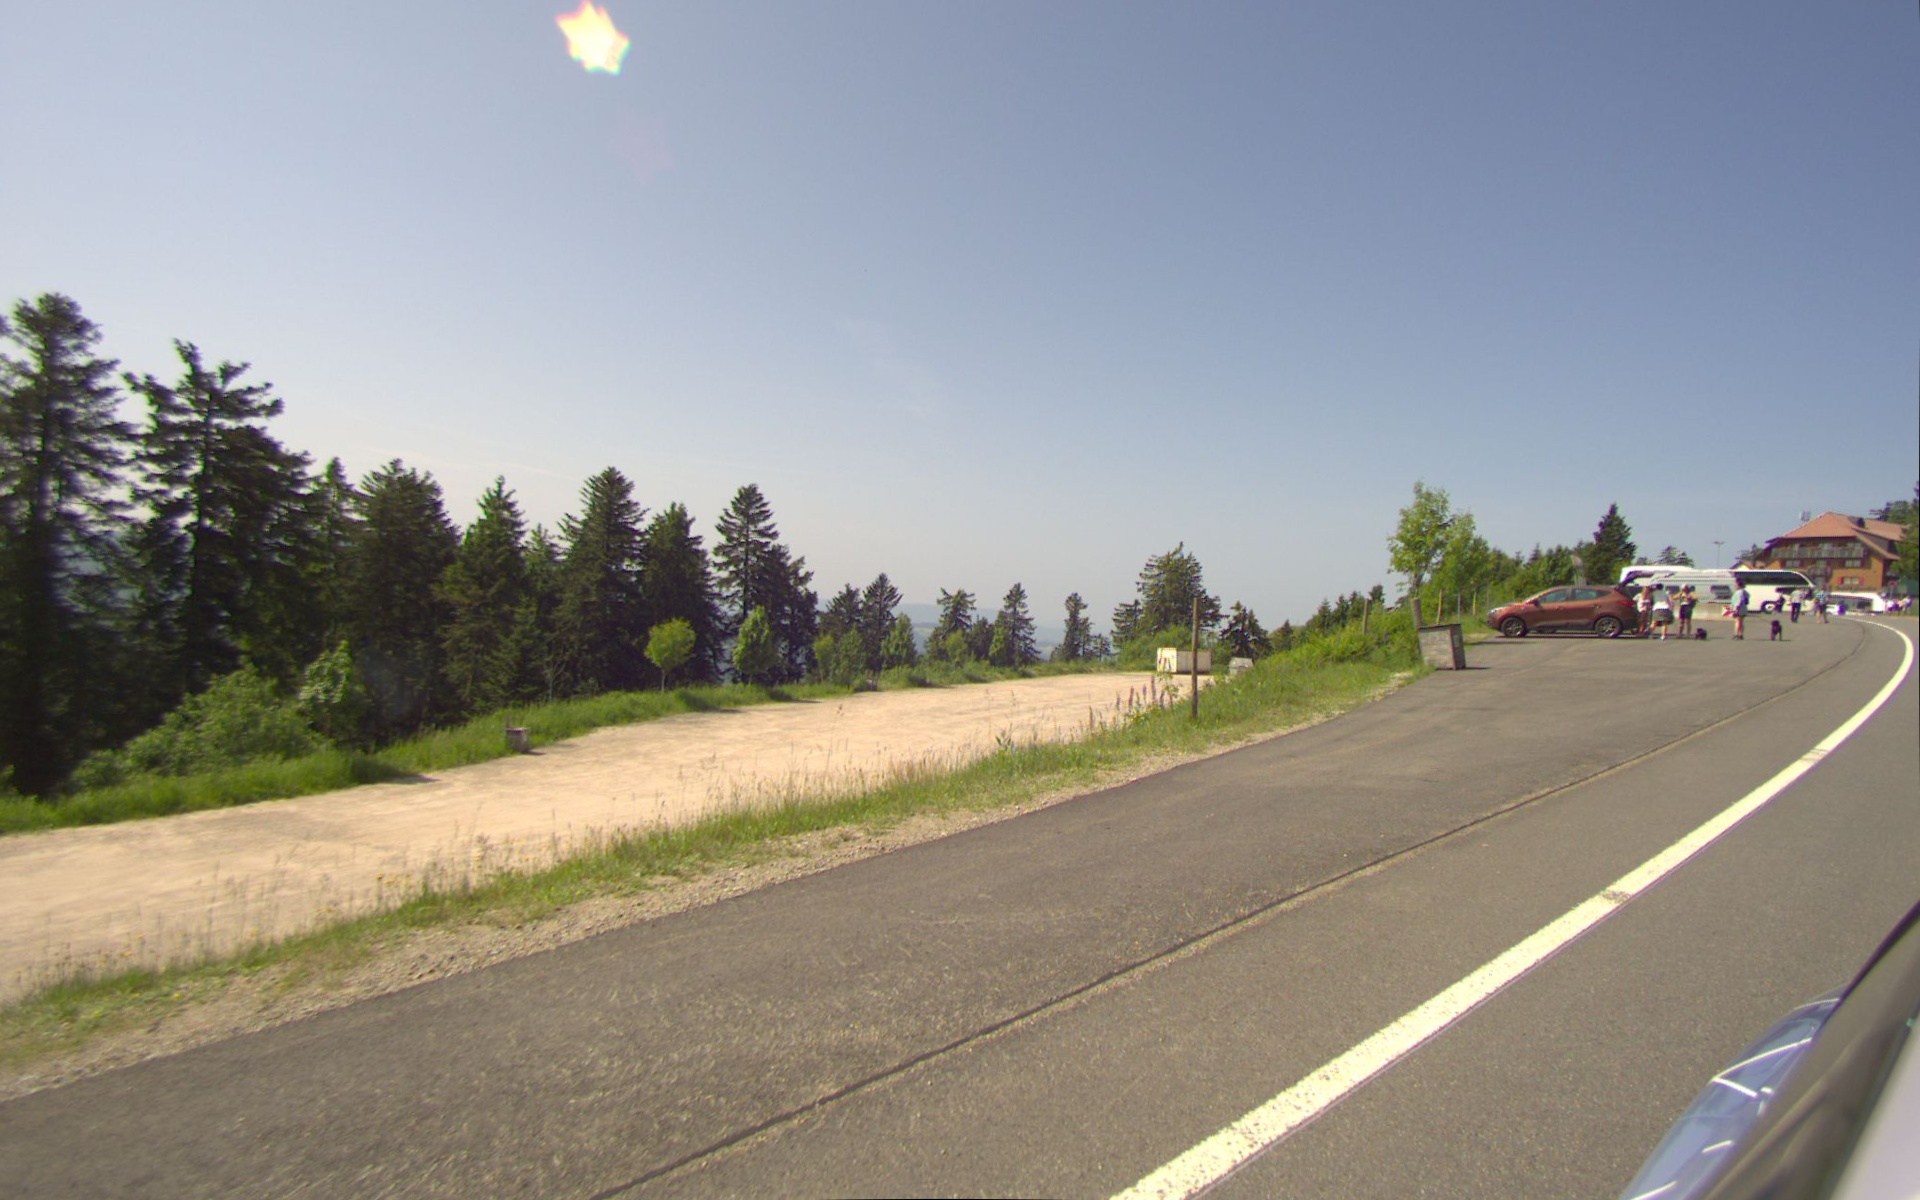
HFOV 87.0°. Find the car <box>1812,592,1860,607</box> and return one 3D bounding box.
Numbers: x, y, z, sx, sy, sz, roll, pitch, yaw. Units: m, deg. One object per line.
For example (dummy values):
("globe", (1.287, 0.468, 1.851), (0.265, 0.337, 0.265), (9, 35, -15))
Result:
("car", (105.988, -0.029, 122.449), (1.752, 1.607, 3.972), (2, 1, -24))

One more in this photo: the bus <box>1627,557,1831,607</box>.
("bus", (61.435, -1.530, 81.320), (12.835, 3.622, 2.797), (3, 1, 41))

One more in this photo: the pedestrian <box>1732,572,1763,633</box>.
("pedestrian", (23.593, 0.069, 30.311), (0.711, 1.797, 0.617), (0, 1, -43))

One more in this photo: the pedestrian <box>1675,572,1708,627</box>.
("pedestrian", (22.786, -0.024, 31.518), (0.608, 1.713, 0.716), (0, 1, -43))

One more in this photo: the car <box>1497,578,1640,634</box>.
("car", (19.466, 0.188, 32.440), (3.805, 1.682, 1.632), (0, 0, 36))

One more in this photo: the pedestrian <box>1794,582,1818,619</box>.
("pedestrian", (41.220, 0.011, 49.286), (0.877, 1.763, 0.667), (1, 1, -37))

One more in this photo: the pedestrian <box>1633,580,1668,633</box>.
("pedestrian", (21.950, 0.205, 32.163), (0.720, 1.607, 0.619), (3, 0, -31))

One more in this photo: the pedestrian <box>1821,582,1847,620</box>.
("pedestrian", (41.947, 0.039, 48.555), (0.761, 1.782, 0.756), (1, 1, -37))

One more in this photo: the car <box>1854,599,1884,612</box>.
("car", (120.047, 0.704, 133.675), (3.068, 1.572, 1.719), (2, 1, -21))

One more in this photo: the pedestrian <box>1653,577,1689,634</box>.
("pedestrian", (21.611, 0.162, 30.779), (0.675, 1.681, 0.654), (2, 0, -37))

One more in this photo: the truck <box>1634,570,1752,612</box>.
("truck", (49.030, -0.624, 67.793), (6.254, 2.623, 2.306), (3, 1, 40))

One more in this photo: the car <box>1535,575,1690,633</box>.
("car", (22.411, 0.079, 34.847), (4.261, 1.816, 1.864), (1, 3, 42))

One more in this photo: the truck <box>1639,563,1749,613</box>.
("truck", (51.005, -0.902, 70.429), (6.051, 3.235, 2.498), (3, 2, 38))

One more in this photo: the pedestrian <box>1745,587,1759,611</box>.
("pedestrian", (58.959, -0.098, 75.347), (0.616, 1.779, 0.632), (1, 1, -37))
